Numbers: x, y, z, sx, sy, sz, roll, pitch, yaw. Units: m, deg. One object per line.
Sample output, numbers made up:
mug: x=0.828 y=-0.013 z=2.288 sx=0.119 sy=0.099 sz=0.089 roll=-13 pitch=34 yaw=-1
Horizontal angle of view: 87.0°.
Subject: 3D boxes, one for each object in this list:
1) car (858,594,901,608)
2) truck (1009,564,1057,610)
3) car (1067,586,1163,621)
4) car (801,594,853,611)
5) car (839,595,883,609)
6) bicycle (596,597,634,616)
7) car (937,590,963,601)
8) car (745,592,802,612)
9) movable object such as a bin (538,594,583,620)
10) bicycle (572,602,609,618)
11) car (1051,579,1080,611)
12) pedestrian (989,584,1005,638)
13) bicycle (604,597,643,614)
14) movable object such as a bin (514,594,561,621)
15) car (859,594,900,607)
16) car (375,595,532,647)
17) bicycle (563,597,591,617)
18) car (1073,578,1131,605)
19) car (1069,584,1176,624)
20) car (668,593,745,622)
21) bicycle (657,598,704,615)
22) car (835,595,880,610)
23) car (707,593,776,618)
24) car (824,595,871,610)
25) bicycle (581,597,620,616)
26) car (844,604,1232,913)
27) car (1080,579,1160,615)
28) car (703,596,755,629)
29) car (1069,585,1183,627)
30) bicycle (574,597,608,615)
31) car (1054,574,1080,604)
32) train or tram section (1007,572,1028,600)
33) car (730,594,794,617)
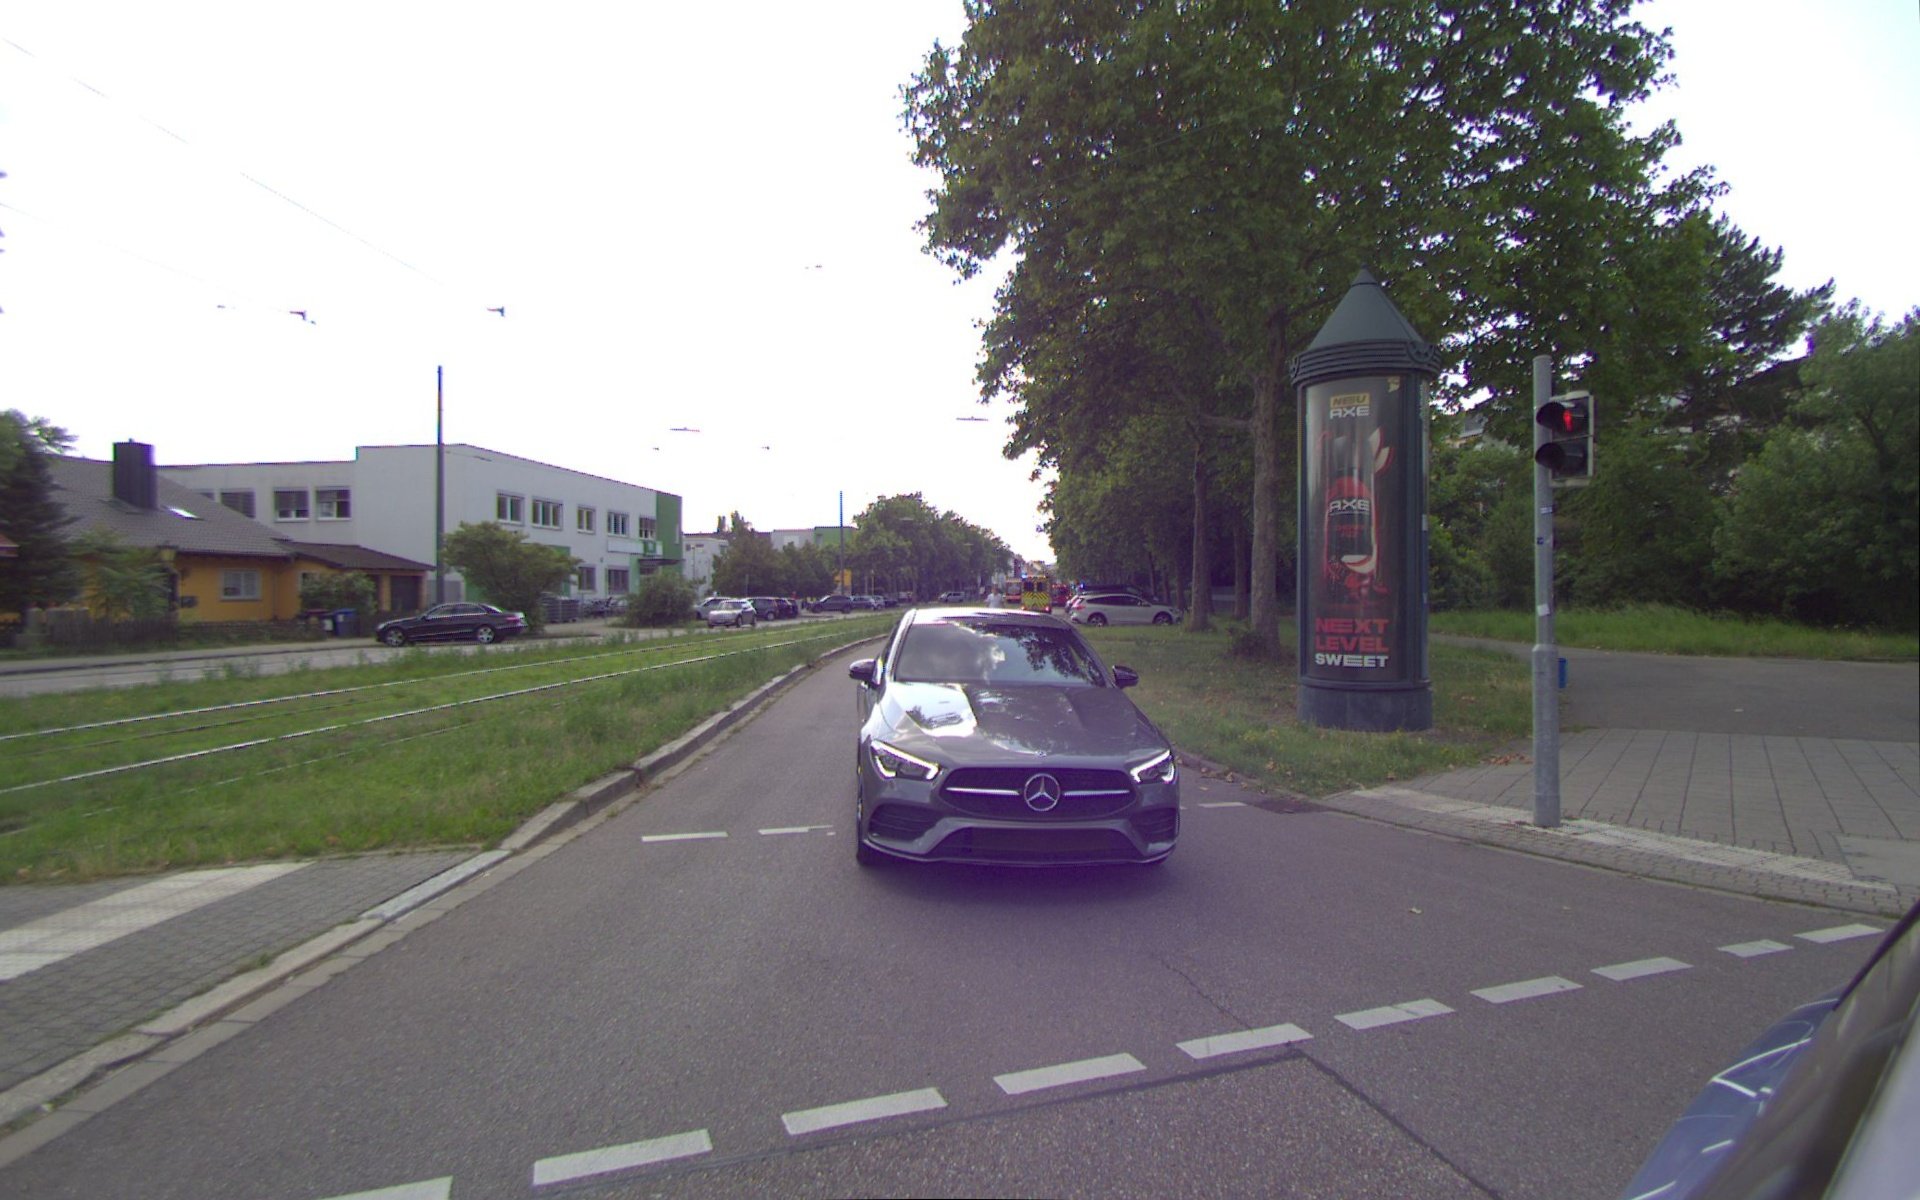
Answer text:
car: x=-8.556 y=0.096 z=107.340 sx=4.224 sy=1.381 sz=1.906 roll=-1 pitch=0 yaw=-15
truck: x=5.667 y=-0.974 z=77.223 sx=3.140 sy=3.359 sz=7.506 roll=-1 pitch=0 yaw=8
car: x=7.493 y=0.185 z=49.373 sx=4.463 sy=1.665 sz=1.997 roll=-1 pitch=-1 yaw=6
car: x=-11.489 y=0.213 z=87.453 sx=4.224 sy=1.381 sz=1.906 roll=-1 pitch=0 yaw=-16
car: x=-10.167 y=0.214 z=103.587 sx=4.224 sy=1.381 sz=1.906 roll=-1 pitch=0 yaw=-15
bicycle: x=-22.388 y=0.427 z=65.674 sx=2.383 sy=1.180 sz=0.745 roll=0 pitch=0 yaw=15
car: x=-1.743 y=-0.728 z=175.509 sx=3.916 sy=1.861 sz=1.825 roll=1 pitch=0 yaw=-24
car: x=-14.075 y=0.149 z=76.292 sx=4.083 sy=1.523 sz=1.864 roll=0 pitch=0 yaw=-15
movable object such as a bin: x=-21.747 y=0.369 z=55.078 sx=1.355 sy=1.343 sz=2.125 roll=-1 pitch=0 yaw=11
bicycle: x=-23.293 y=0.603 z=63.734 sx=2.125 sy=0.982 sz=0.728 roll=0 pitch=0 yaw=12
car: x=11.416 y=-0.517 z=109.594 sx=2.923 sy=3.359 sz=7.447 roll=1 pitch=0 yaw=6
pedestrian: x=1.169 y=0.348 z=32.209 sx=0.485 sy=1.705 sz=0.586 roll=0 pitch=-1 yaw=4
bicycle: x=-22.132 y=0.370 z=66.551 sx=2.355 sy=1.129 sz=0.793 roll=0 pitch=0 yaw=14
movable object such as a bin: x=-22.081 y=0.365 z=52.919 sx=1.355 sy=1.343 sz=2.110 roll=-1 pitch=0 yaw=11
car: x=-8.931 y=0.077 z=112.023 sx=4.224 sy=1.381 sz=1.906 roll=-1 pitch=0 yaw=-15
car: x=-17.431 y=0.677 z=35.031 sx=4.484 sy=1.600 sz=2.004 roll=-2 pitch=1 yaw=-12
bicycle: x=-23.551 y=0.430 z=62.225 sx=1.603 sy=1.180 sz=0.700 roll=0 pitch=0 yaw=24
car: x=18.881 y=-1.171 z=135.159 sx=7.322 sy=3.372 sz=2.973 roll=1 pitch=0 yaw=3
car: x=7.026 y=0.204 z=44.218 sx=4.463 sy=1.665 sz=1.997 roll=-1 pitch=-1 yaw=6
car: x=-15.300 y=0.427 z=61.098 sx=4.226 sy=1.650 sz=1.905 roll=-1 pitch=0 yaw=-26
bicycle: x=-20.214 y=0.453 z=73.121 sx=3.087 sy=1.180 sz=1.141 roll=-1 pitch=0 yaw=4
car: x=-10.261 y=0.217 z=100.991 sx=4.224 sy=1.381 sz=1.906 roll=-1 pitch=0 yaw=-15
car: x=-14.499 y=0.334 z=67.103 sx=4.224 sy=1.650 sz=1.906 roll=0 pitch=0 yaw=-20
car: x=-10.893 y=0.210 z=97.733 sx=4.224 sy=1.381 sz=1.906 roll=-1 pitch=0 yaw=-15
bicycle: x=-22.956 y=0.409 z=64.605 sx=2.316 sy=1.180 sz=0.757 roll=0 pitch=0 yaw=14
car: x=0.122 y=0.742 z=7.025 sx=1.803 sy=1.411 sz=4.611 roll=1 pitch=0 yaw=-7
car: x=9.300 y=-0.169 z=59.040 sx=4.480 sy=2.039 sz=1.995 roll=-1 pitch=0 yaw=9
car: x=-11.739 y=0.605 z=51.692 sx=1.865 sy=1.650 sz=4.317 roll=0 pitch=0 yaw=-2
car: x=6.768 y=0.267 z=41.649 sx=4.463 sy=1.665 sz=1.997 roll=-1 pitch=-1 yaw=6
bicycle: x=-22.241 y=0.371 z=61.061 sx=1.766 sy=1.095 sz=0.735 roll=-1 pitch=0 yaw=6
car: x=12.900 y=-1.300 z=122.288 sx=2.923 sy=3.372 sz=7.447 roll=1 pitch=0 yaw=6
train or tram section: x=7.523 y=-1.867 z=133.731 sx=2.449 sy=3.641 sz=7.419 roll=-1 pitch=0 yaw=1
car: x=-13.743 y=0.367 z=70.121 sx=4.082 sy=1.523 sz=1.864 roll=0 pitch=0 yaw=-20
